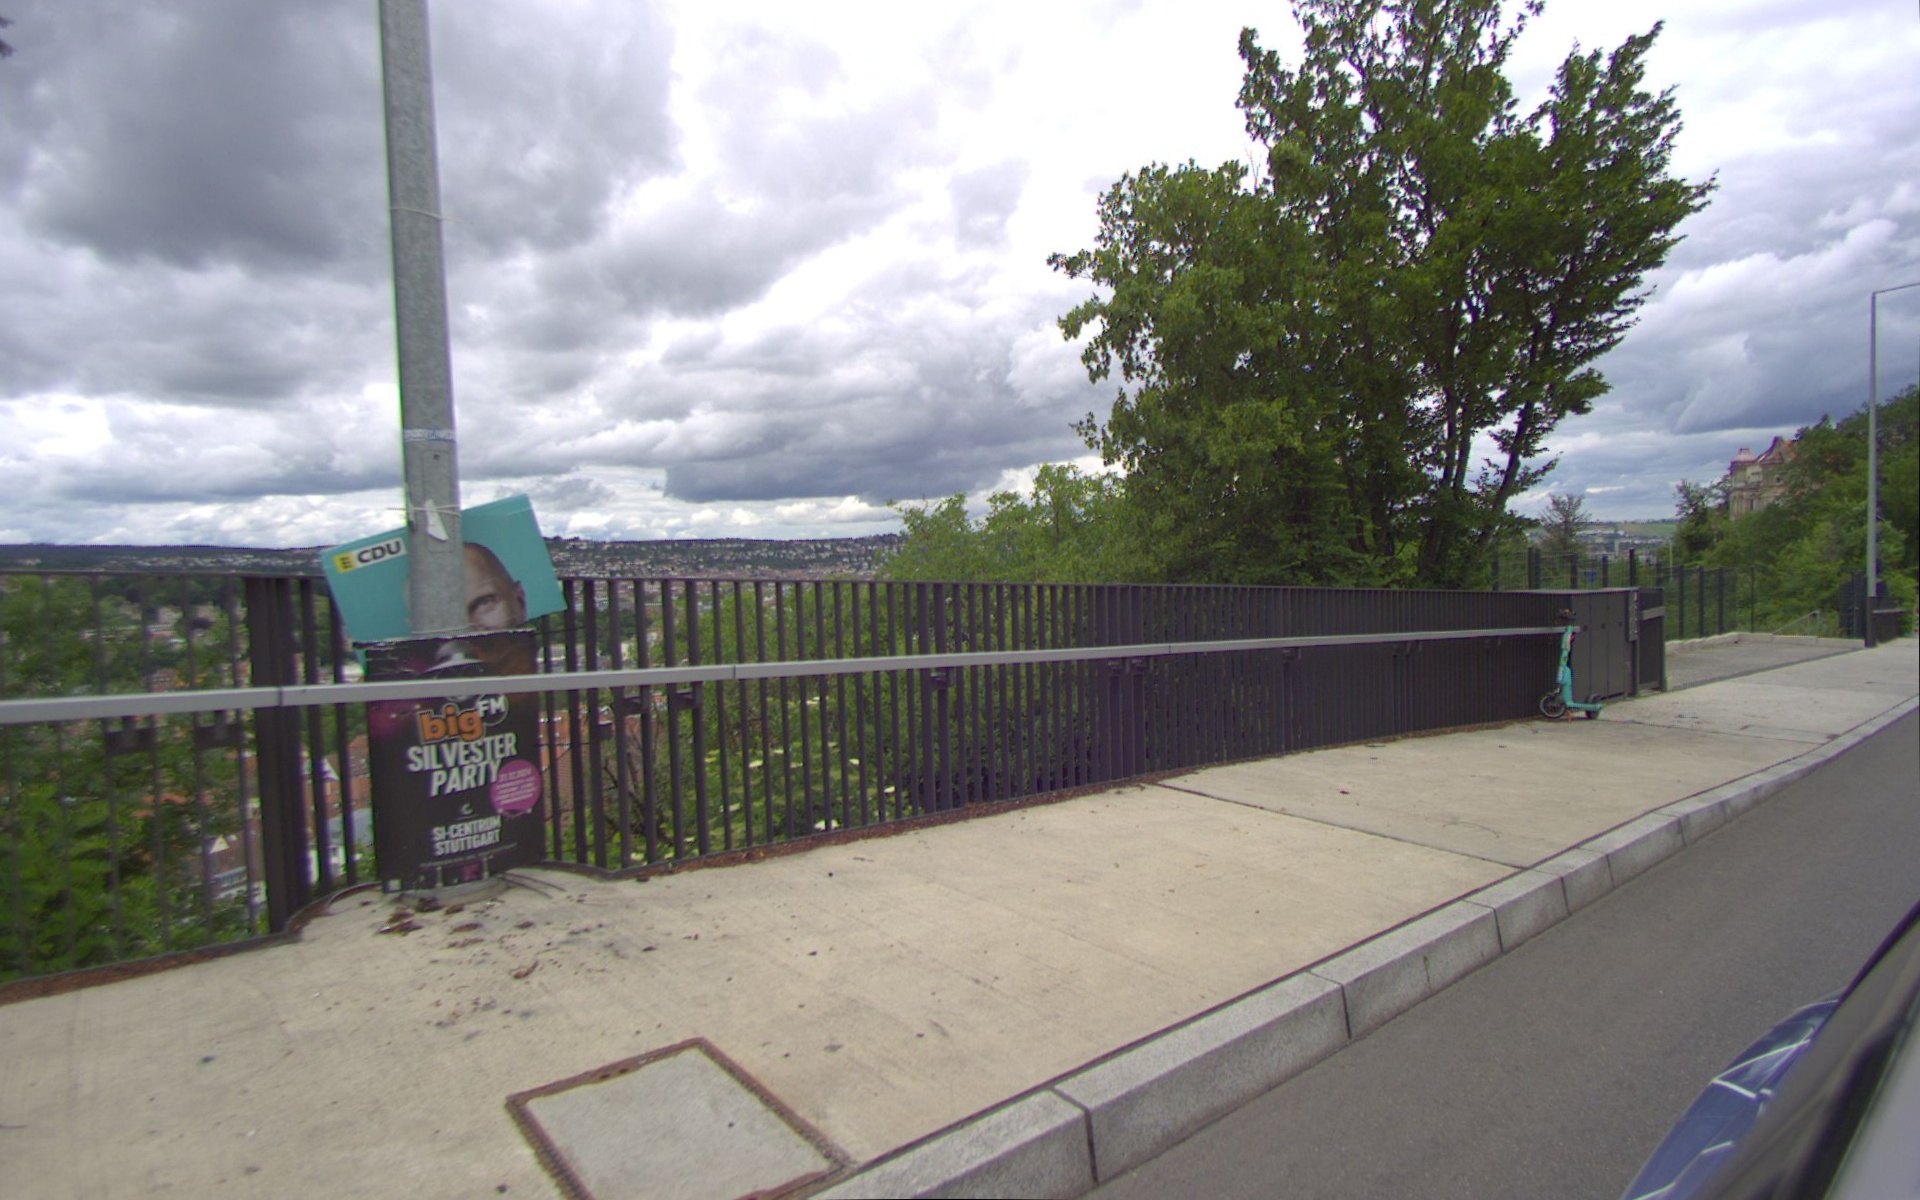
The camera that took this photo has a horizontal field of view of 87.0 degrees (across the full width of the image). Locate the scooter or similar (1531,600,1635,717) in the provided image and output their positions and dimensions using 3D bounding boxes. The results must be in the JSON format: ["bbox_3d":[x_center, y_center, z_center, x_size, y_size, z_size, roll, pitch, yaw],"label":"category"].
[{"bbox_3d":[7.054,0.639,11.455,1.183,1.242,0.536,1,1,-34],"label":"scooter or similar"}]
